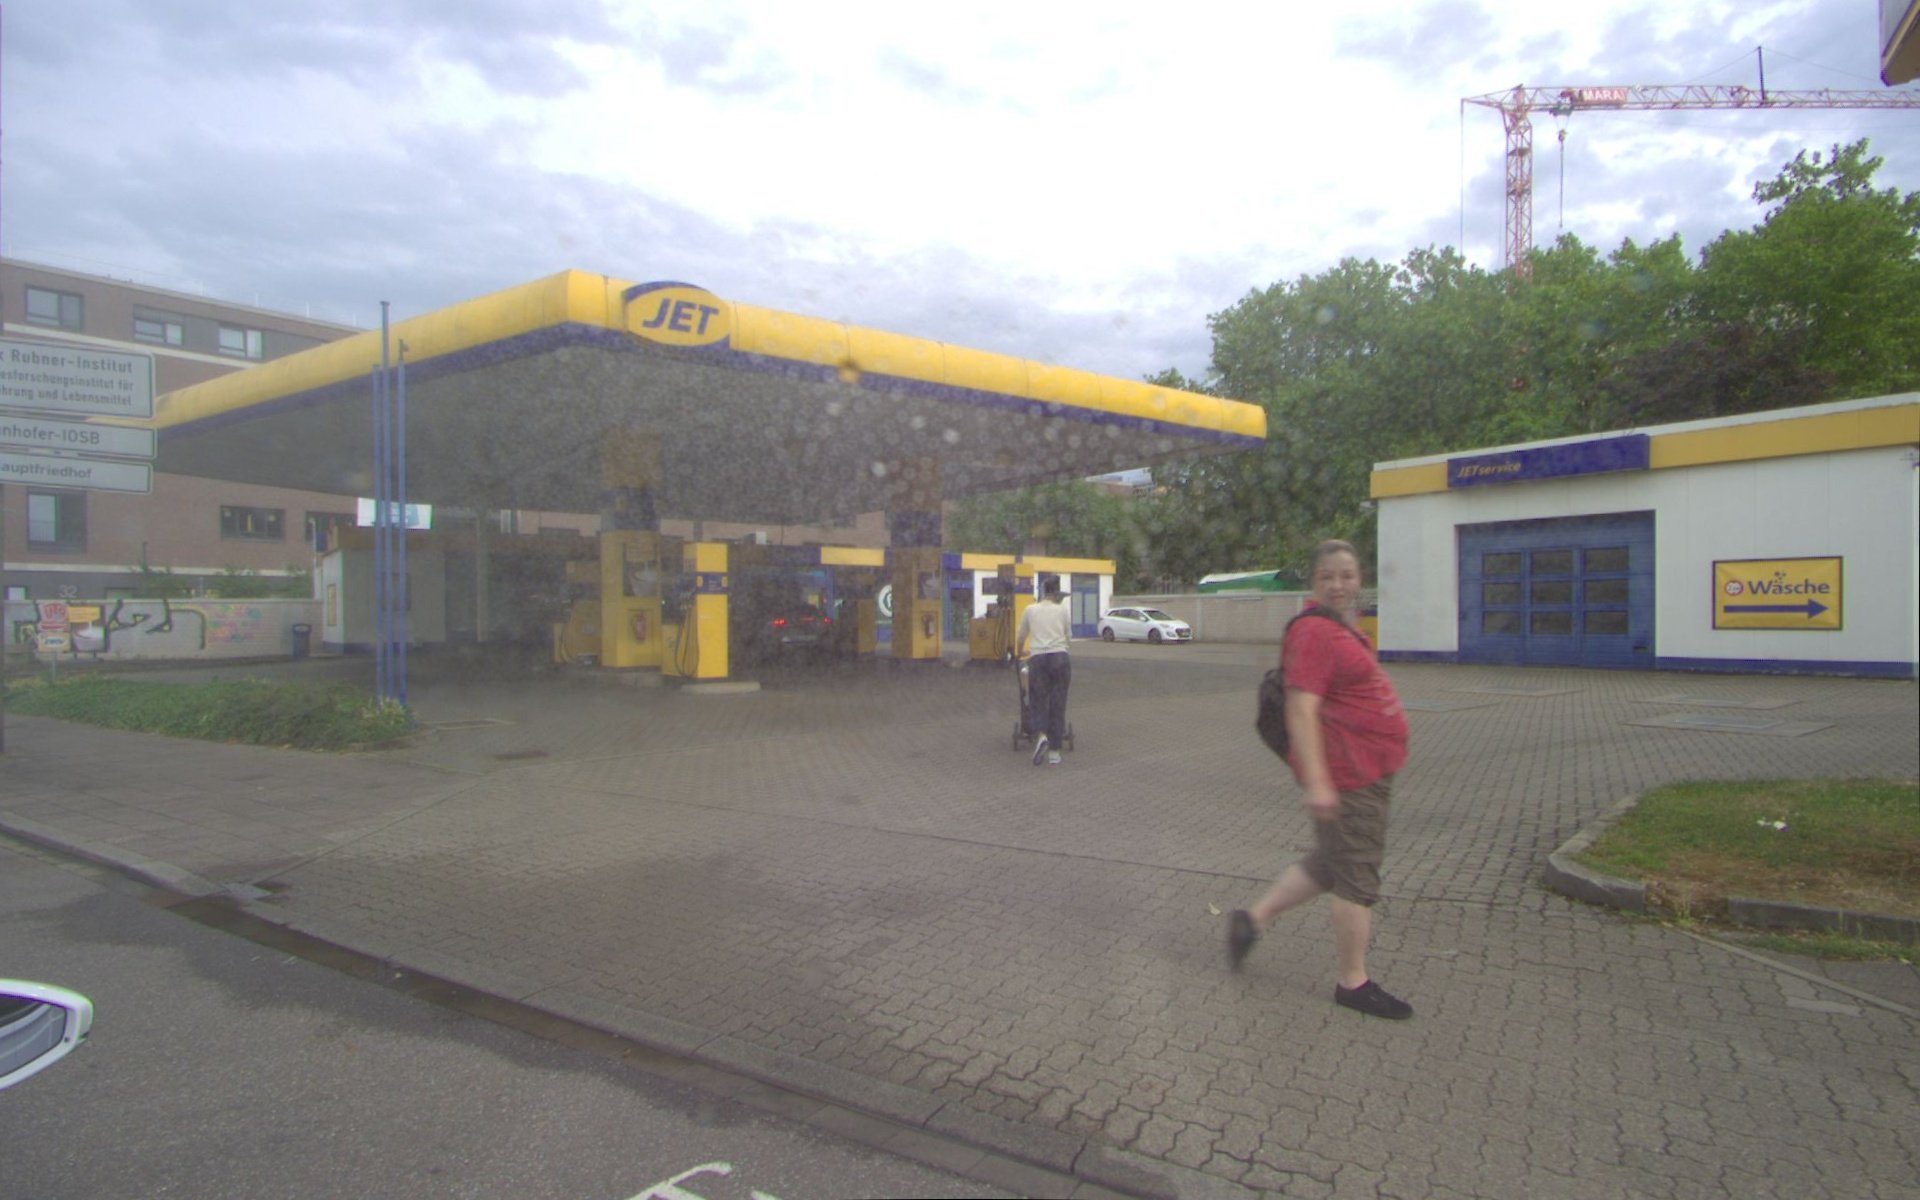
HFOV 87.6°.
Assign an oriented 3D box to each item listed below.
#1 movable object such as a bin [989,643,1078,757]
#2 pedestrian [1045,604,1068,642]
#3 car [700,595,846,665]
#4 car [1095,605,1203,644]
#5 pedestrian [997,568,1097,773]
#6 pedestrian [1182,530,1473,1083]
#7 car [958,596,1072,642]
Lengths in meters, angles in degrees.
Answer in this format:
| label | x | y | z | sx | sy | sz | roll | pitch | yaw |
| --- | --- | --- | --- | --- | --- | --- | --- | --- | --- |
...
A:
| label | x | y | z | sx | sy | sz | roll | pitch | yaw |
| --- | --- | --- | --- | --- | --- | --- | --- | --- | --- |
| movable object such as a bin | 0.733 | 0.999 | 10.289 | 0.755 | 1.053 | 1.023 | 0 | 2 | -5 |
| pedestrian | 3.550 | 0.859 | 36.727 | 0.573 | 1.364 | 0.607 | 1 | -2 | -38 |
| car | -4.653 | 0.642 | 24.449 | 1.970 | 1.517 | 4.297 | -1 | 1 | -34 |
| car | 7.873 | 1.053 | 42.054 | 1.915 | 1.546 | 4.302 | 2 | -3 | -38 |
| pedestrian | 0.797 | 0.620 | 9.493 | 0.755 | 1.821 | 1.161 | 0 | 2 | -5 |
| pedestrian | 1.431 | 0.658 | 3.812 | 0.849 | 1.762 | 0.970 | -1 | 2 | 31 |
| car | 2.045 | 0.792 | 38.588 | 1.821 | 1.658 | 4.439 | 2 | -3 | -41 |
